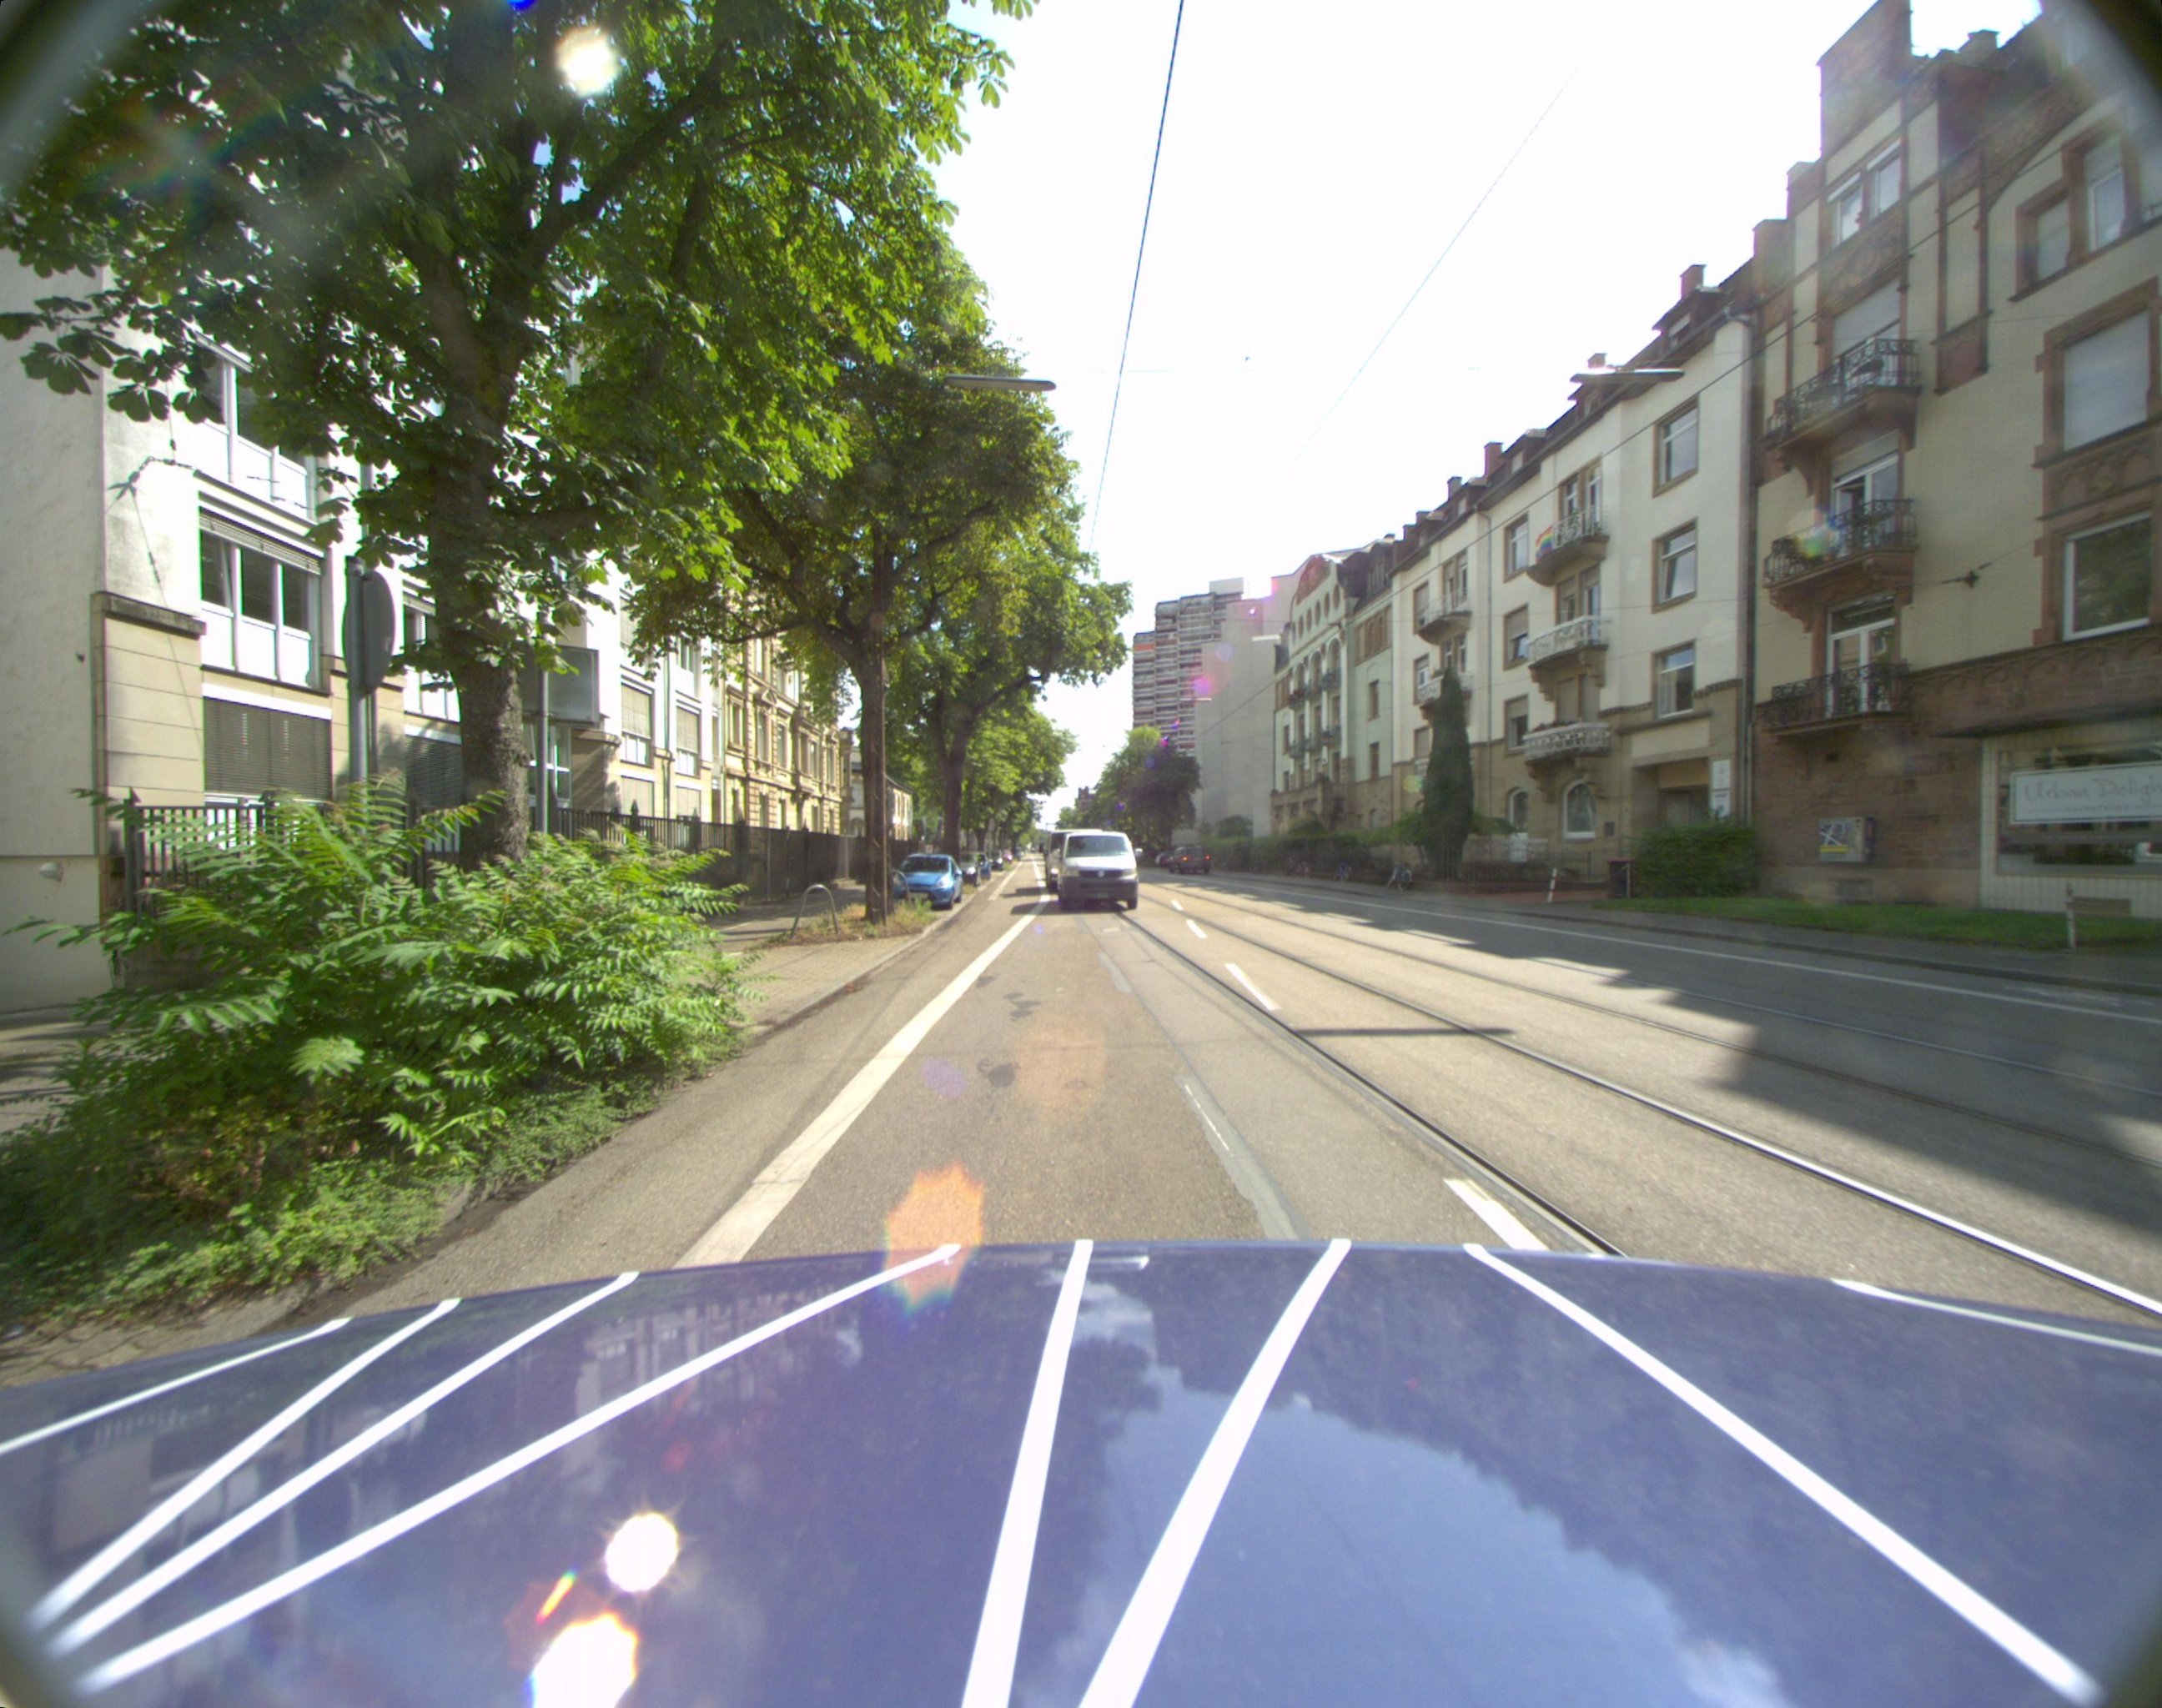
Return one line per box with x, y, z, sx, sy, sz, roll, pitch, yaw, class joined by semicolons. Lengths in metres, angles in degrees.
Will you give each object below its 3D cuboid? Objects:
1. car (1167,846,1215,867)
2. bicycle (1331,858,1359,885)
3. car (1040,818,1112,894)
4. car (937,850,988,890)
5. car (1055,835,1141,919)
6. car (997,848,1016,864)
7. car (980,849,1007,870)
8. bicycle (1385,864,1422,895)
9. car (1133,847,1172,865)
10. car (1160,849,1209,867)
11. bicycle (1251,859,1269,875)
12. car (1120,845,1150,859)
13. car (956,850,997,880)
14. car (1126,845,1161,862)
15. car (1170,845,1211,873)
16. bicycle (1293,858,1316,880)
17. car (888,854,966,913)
8.945;0.185;61.989;3.631;1.630;1.609;0;1;-3;car
10.989;0.710;31.647;0.539;1.024;1.872;0;2;1;bicycle
-0.324;0.022;28.676;2.169;2.572;5.660;-1;1;-6;car
-4.855;0.600;31.551;1.644;1.499;3.621;2;1;-2;car
0.317;0.495;19.602;1.832;1.856;4.843;-1;1;-3;car
-7.986;0.214;81.350;1.774;1.563;4.198;2;1;-3;car
-6.718;0.378;58.521;1.774;1.522;4.198;2;1;-3;car
11.151;0.872;26.358;0.524;0.901;2.066;0;3;4;bicycle
7.611;0.221;81.136;3.997;1.915;1.830;0;1;-1;car
8.814;0.323;64.917;3.890;1.527;1.634;0;1;-2;car
9.959;0.733;42.258;0.587;0.792;1.872;-3;2;1;bicycle
6.664;-0.204;94.111;3.542;1.733;1.635;0;1;-1;car
-5.386;0.544;39.661;1.724;1.443;3.924;2;1;-3;car
6.939;-0.056;84.380;3.663;1.832;1.735;0;1;-3;car
6.996;0.297;48.940;1.796;1.701;4.329;0;1;-4;car
10.622;0.692;36.160;0.587;0.980;1.872;0;2;1;bicycle
-4.206;0.749;21.269;1.642;1.447;3.697;1;1;-4;car
